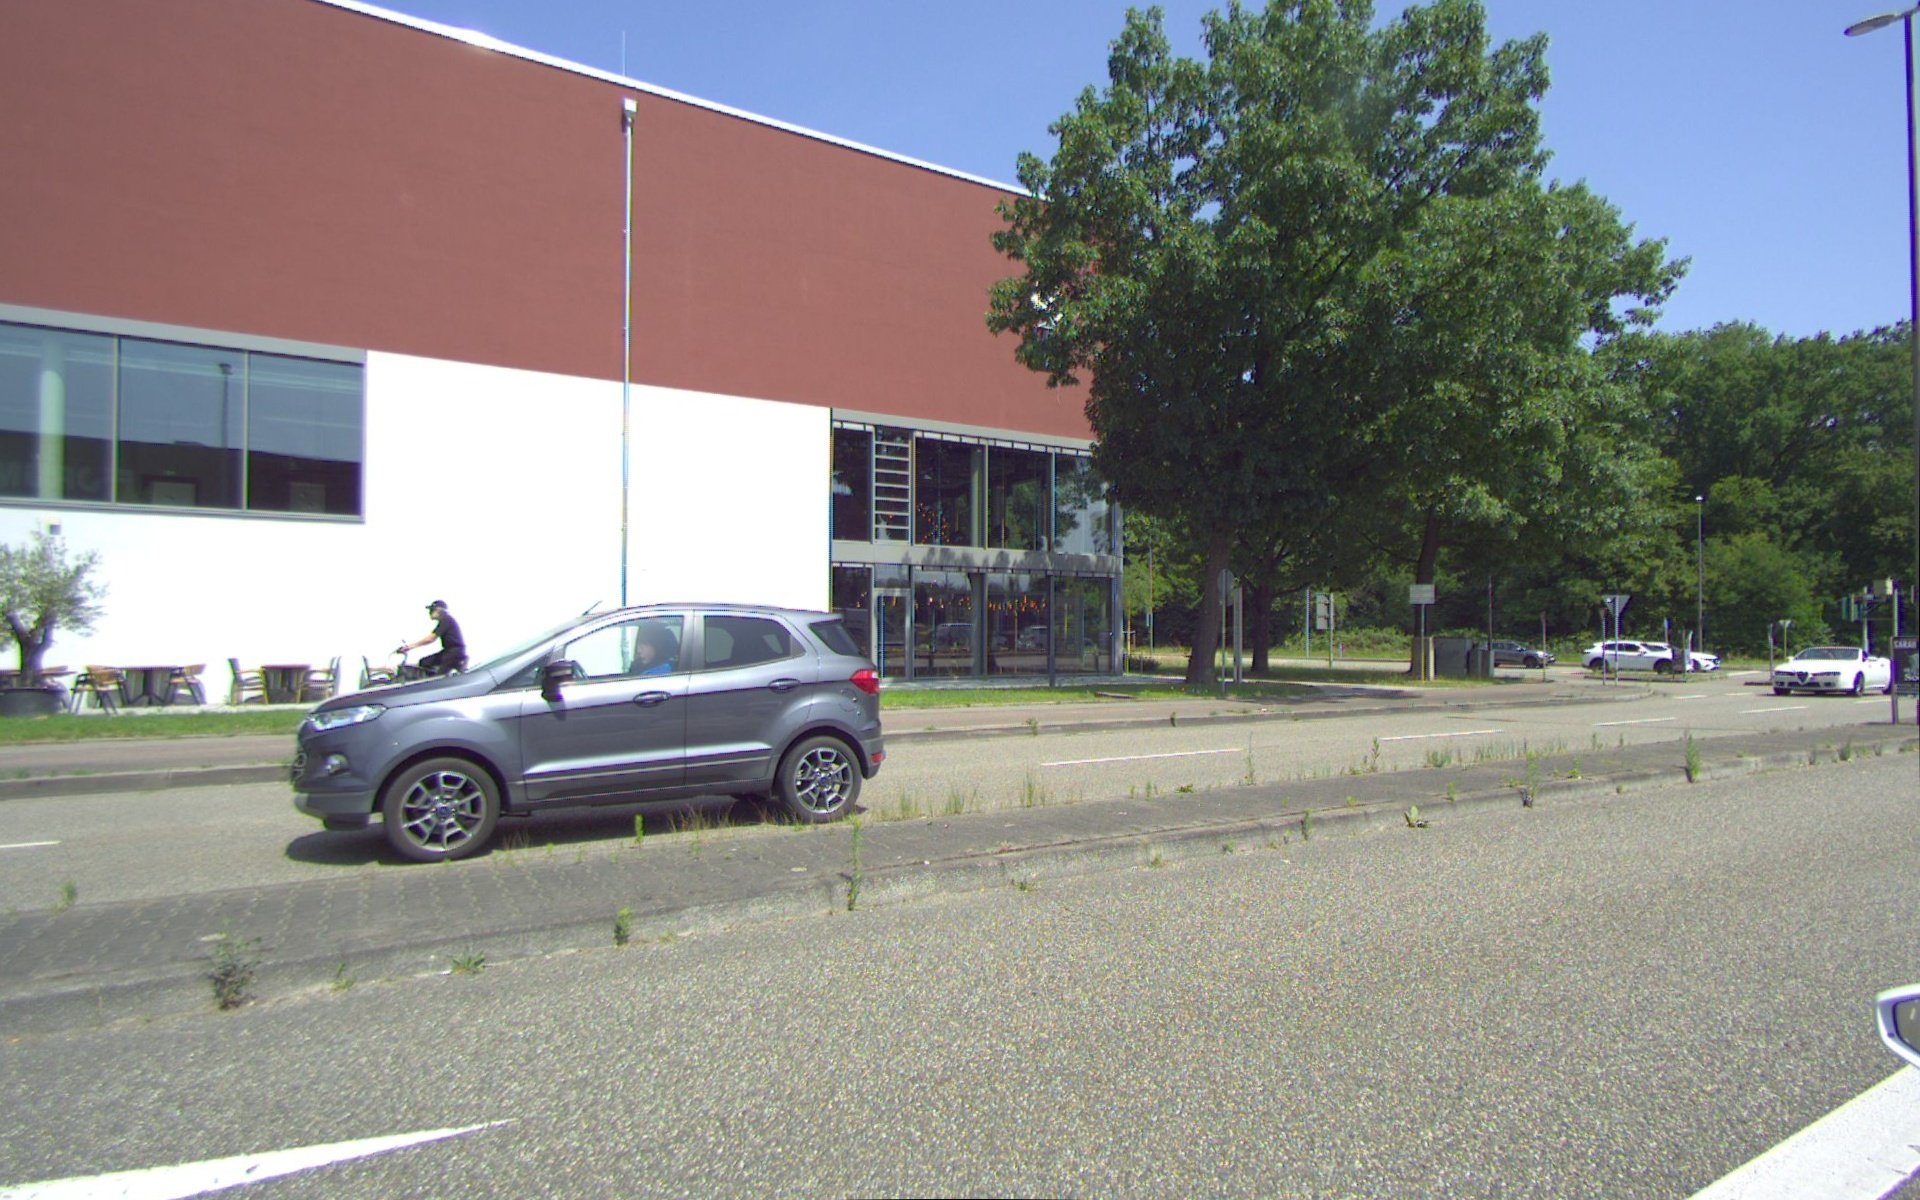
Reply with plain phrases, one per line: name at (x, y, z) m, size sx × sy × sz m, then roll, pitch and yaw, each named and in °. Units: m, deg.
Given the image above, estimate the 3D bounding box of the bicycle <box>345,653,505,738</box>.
bicycle at (-7.262, 1.266, 13.687) m, size 1.862 × 1.065 × 0.652 m, roll 1°, pitch -1°, yaw -31°

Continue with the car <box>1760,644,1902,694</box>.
car at (24.091, 1.884, 27.751) m, size 4.252 × 1.279 × 1.710 m, roll 1°, pitch -4°, yaw -31°

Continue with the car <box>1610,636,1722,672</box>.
car at (36.566, 2.837, 52.105) m, size 1.794 × 1.703 × 4.340 m, roll 2°, pitch -6°, yaw -37°

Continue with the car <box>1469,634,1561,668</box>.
car at (32.200, 2.936, 58.347) m, size 1.796 × 1.704 × 4.332 m, roll 2°, pitch -1°, yaw -41°

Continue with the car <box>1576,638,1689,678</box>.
car at (33.418, 2.859, 50.000) m, size 1.794 × 1.704 × 4.338 m, roll 2°, pitch 0°, yaw -37°

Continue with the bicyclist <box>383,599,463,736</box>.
bicyclist at (-7.302, 0.894, 13.663) m, size 0.917 × 1.793 × 0.646 m, roll 1°, pitch -1°, yaw -30°

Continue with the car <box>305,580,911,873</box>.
car at (-2.436, 0.797, 7.336) m, size 3.842 × 1.621 × 1.678 m, roll 1°, pitch -4°, yaw -32°
